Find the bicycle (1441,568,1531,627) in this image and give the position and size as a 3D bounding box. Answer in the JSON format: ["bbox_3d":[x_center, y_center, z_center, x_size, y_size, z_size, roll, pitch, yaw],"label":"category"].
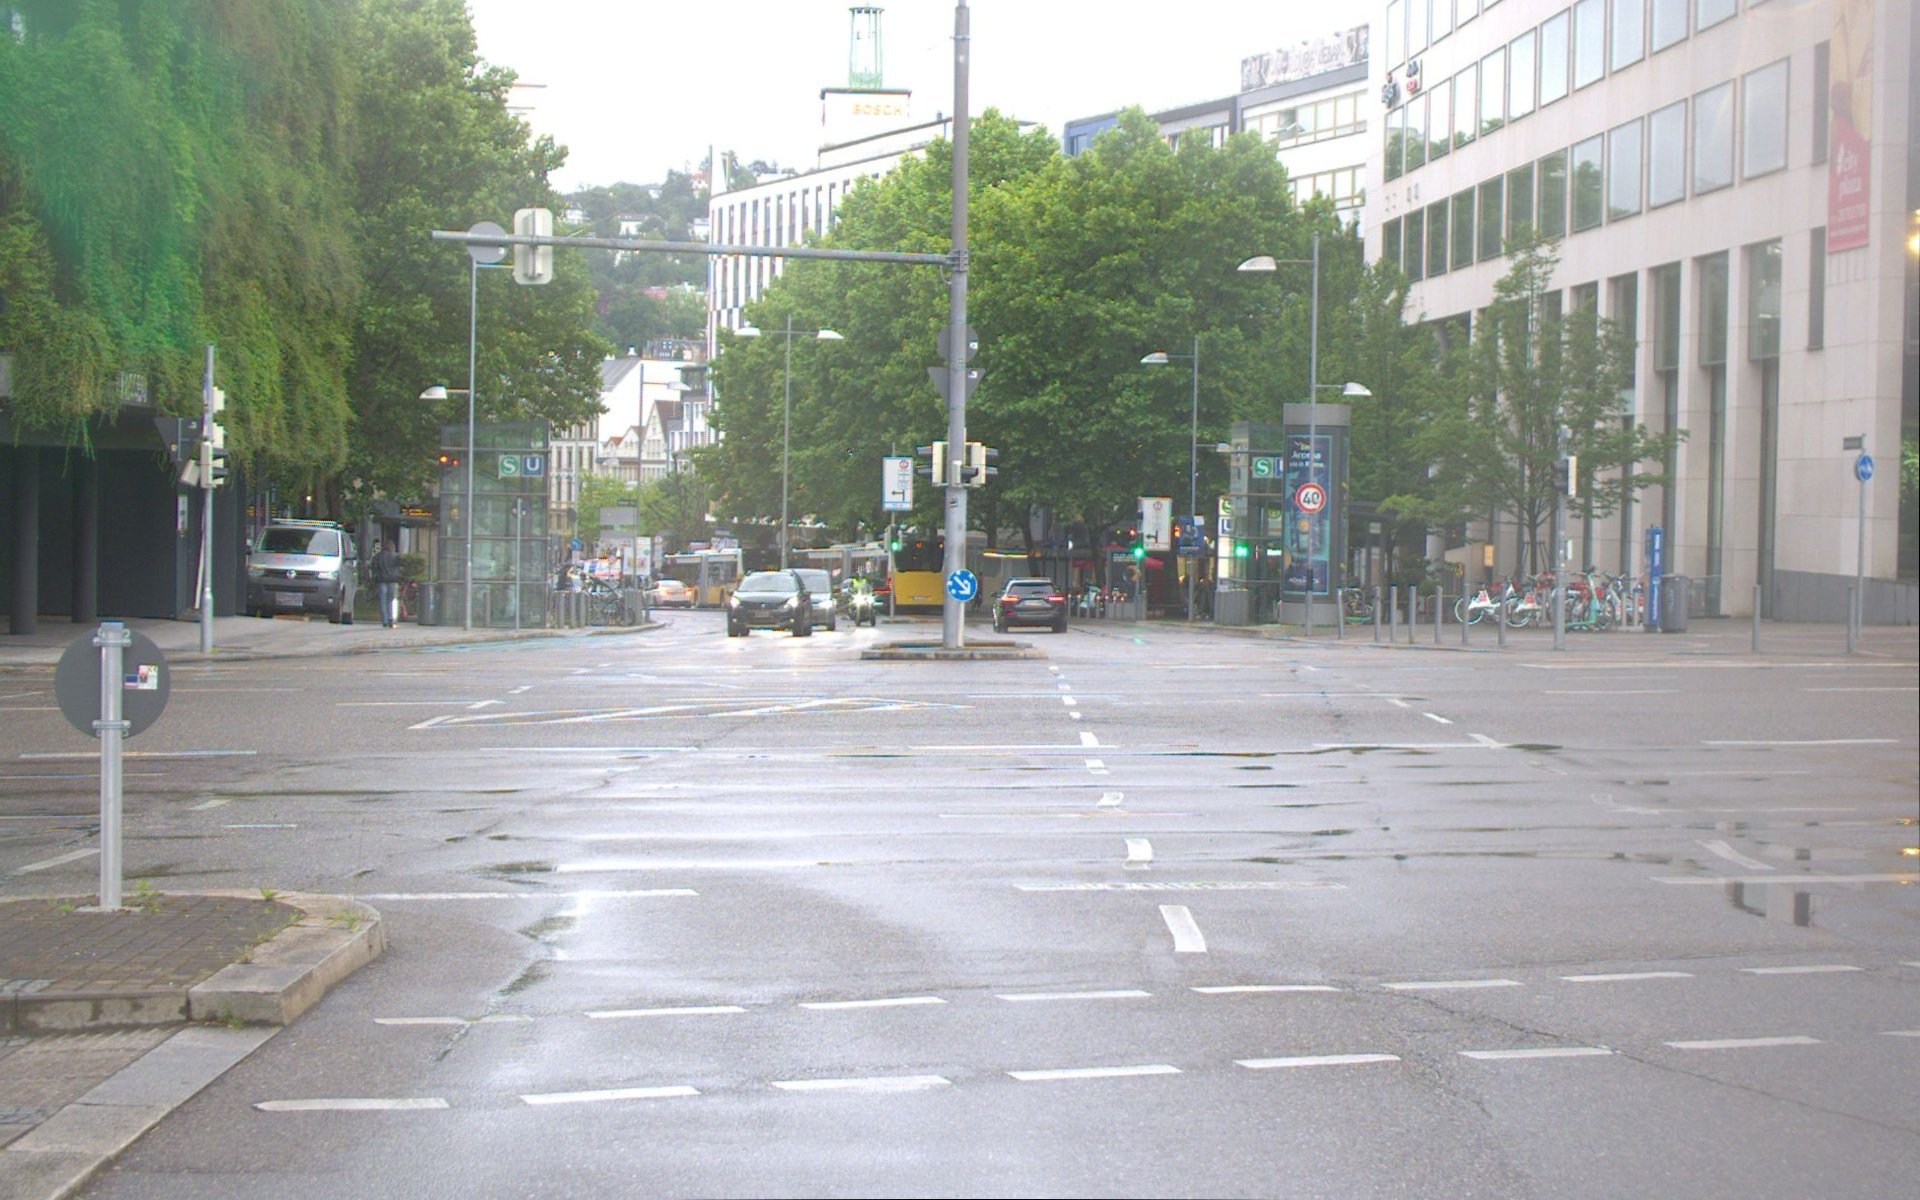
[{"bbox_3d":[11.018,-0.053,72.049,1.777,1.190,0.586,1,0,2],"label":"bicycle"}]

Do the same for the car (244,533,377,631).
[{"bbox_3d":[-12.738,-0.350,67.617,1.870,1.833,4.000,1,0,-1],"label":"car"}]

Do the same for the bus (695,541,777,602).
[{"bbox_3d":[-11.271,-1.451,172.526,2.627,2.985,7.330,0,1,-16],"label":"bus"}]

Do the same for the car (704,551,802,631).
[{"bbox_3d":[-4.802,-0.207,79.852,2.164,1.759,5.112,1,0,-3],"label":"car"}]

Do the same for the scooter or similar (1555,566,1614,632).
[{"bbox_3d":[11.519,-0.021,63.433,0.963,1.190,0.454,1,0,40],"label":"scooter or similar"}]

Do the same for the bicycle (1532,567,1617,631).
[{"bbox_3d":[11.731,-0.025,65.670,0.584,1.190,1.783,1,0,-28],"label":"bicycle"}]

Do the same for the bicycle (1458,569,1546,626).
[{"bbox_3d":[11.595,-0.049,73.601,1.777,1.190,0.586,1,0,2],"label":"bicycle"}]

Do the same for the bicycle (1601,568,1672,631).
[{"bbox_3d":[13.035,-0.008,66.227,0.586,1.190,1.779,1,0,38],"label":"bicycle"}]

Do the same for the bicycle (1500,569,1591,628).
[{"bbox_3d":[12.065,-0.035,70.880,1.777,1.190,0.586,1,0,2],"label":"bicycle"}]

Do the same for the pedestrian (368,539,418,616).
[{"bbox_3d":[-12.235,-0.486,74.225,0.933,1.638,0.774,1,0,-1],"label":"pedestrian"}]

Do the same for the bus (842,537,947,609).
[{"bbox_3d":[-2.827,-1.163,145.229,2.627,2.985,7.451,0,1,-16],"label":"bus"}]

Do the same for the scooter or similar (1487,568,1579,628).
[{"bbox_3d":[11.711,-0.038,70.257,1.777,1.190,0.586,1,0,2],"label":"scooter or similar"}]

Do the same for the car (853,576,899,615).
[{"bbox_3d":[-3.342,-0.182,137.730,1.781,1.503,4.000,1,0,-1],"label":"car"}]

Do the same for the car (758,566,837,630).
[{"bbox_3d":[-4.690,-0.058,98.685,2.164,1.759,5.112,1,0,-3],"label":"car"}]

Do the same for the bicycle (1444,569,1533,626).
[{"bbox_3d":[11.167,-0.053,72.683,1.777,1.190,0.586,1,0,2],"label":"bicycle"}]

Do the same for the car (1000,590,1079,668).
[{"bbox_3d":[2.139,0.754,91.433,1.544,2.007,4.666,1,0,8],"label":"car"}]

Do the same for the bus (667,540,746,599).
[{"bbox_3d":[-13.283,-1.603,179.623,2.627,2.985,7.451,0,1,-16],"label":"bus"}]

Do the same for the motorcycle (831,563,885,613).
[{"bbox_3d":[-3.208,-0.373,107.781,1.551,1.509,4.385,1,0,-3],"label":"motorcycle"}]

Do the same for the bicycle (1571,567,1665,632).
[{"bbox_3d":[12.274,-0.013,64.117,1.624,1.190,0.586,1,0,26],"label":"bicycle"}]

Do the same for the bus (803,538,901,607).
[{"bbox_3d":[-4.838,-1.252,152.377,2.627,2.985,7.451,0,1,-16],"label":"bus"}]
